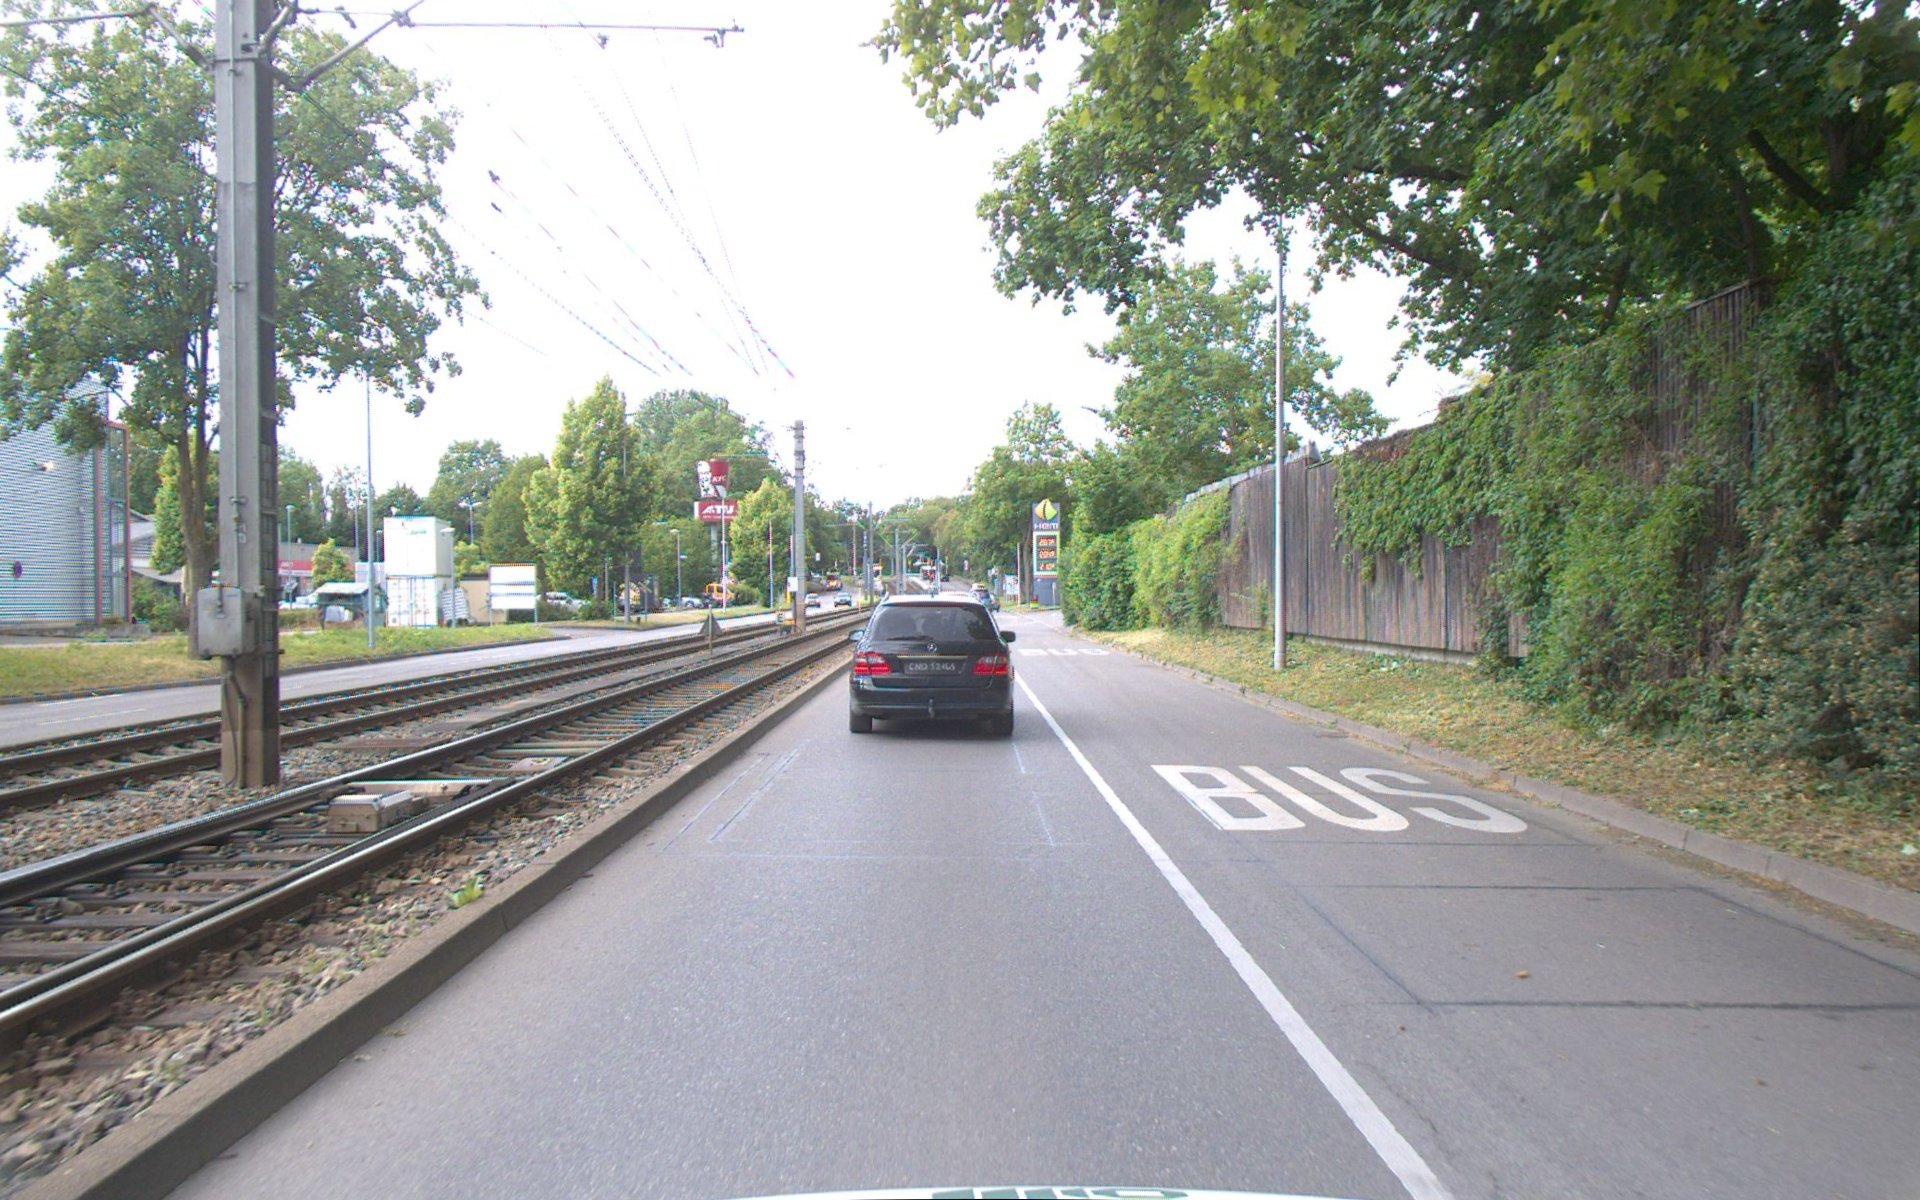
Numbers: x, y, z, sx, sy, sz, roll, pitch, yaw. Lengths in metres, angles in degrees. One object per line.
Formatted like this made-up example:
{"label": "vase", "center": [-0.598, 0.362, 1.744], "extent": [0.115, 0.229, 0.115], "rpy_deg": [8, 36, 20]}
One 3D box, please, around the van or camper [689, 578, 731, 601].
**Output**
{"label": "van or camper", "center": [-25.009, -1.022, 165.560], "extent": [3.909, 2.172, 1.876], "rpy_deg": [-1, 0, -5]}

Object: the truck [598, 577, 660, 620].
{"label": "truck", "center": [-23.281, -0.097, 116.343], "extent": [3.907, 2.871, 2.375], "rpy_deg": [-1, 0, -3]}

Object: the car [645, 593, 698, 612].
{"label": "car", "center": [-24.197, 0.212, 138.905], "extent": [4.220, 1.497, 1.679], "rpy_deg": [-1, 0, -3]}

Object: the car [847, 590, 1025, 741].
{"label": "car", "center": [-0.252, 0.652, 18.507], "extent": [1.771, 1.500, 3.880], "rpy_deg": [0, 0, 0]}

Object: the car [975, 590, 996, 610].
{"label": "car", "center": [1.941, 0.020, 127.521], "extent": [1.539, 1.439, 3.354], "rpy_deg": [1, -1, 0]}

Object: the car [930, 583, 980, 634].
{"label": "car", "center": [-0.186, 0.324, 60.757], "extent": [1.744, 1.781, 3.717], "rpy_deg": [1, -1, 0]}

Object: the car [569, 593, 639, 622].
{"label": "car", "center": [-23.086, 0.474, 107.431], "extent": [4.136, 1.757, 1.995], "rpy_deg": [-1, 0, -3]}

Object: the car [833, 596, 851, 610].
{"label": "car", "center": [-12.733, 0.328, 178.848], "extent": [1.723, 1.425, 4.442], "rpy_deg": [-3, 0, -1]}

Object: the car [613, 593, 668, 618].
{"label": "car", "center": [-24.241, 0.396, 125.555], "extent": [3.909, 1.829, 1.876], "rpy_deg": [-1, 0, -5]}

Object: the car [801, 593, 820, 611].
{"label": "car", "center": [-16.096, 0.213, 178.150], "extent": [1.756, 1.803, 3.998], "rpy_deg": [-1, 0, -2]}
